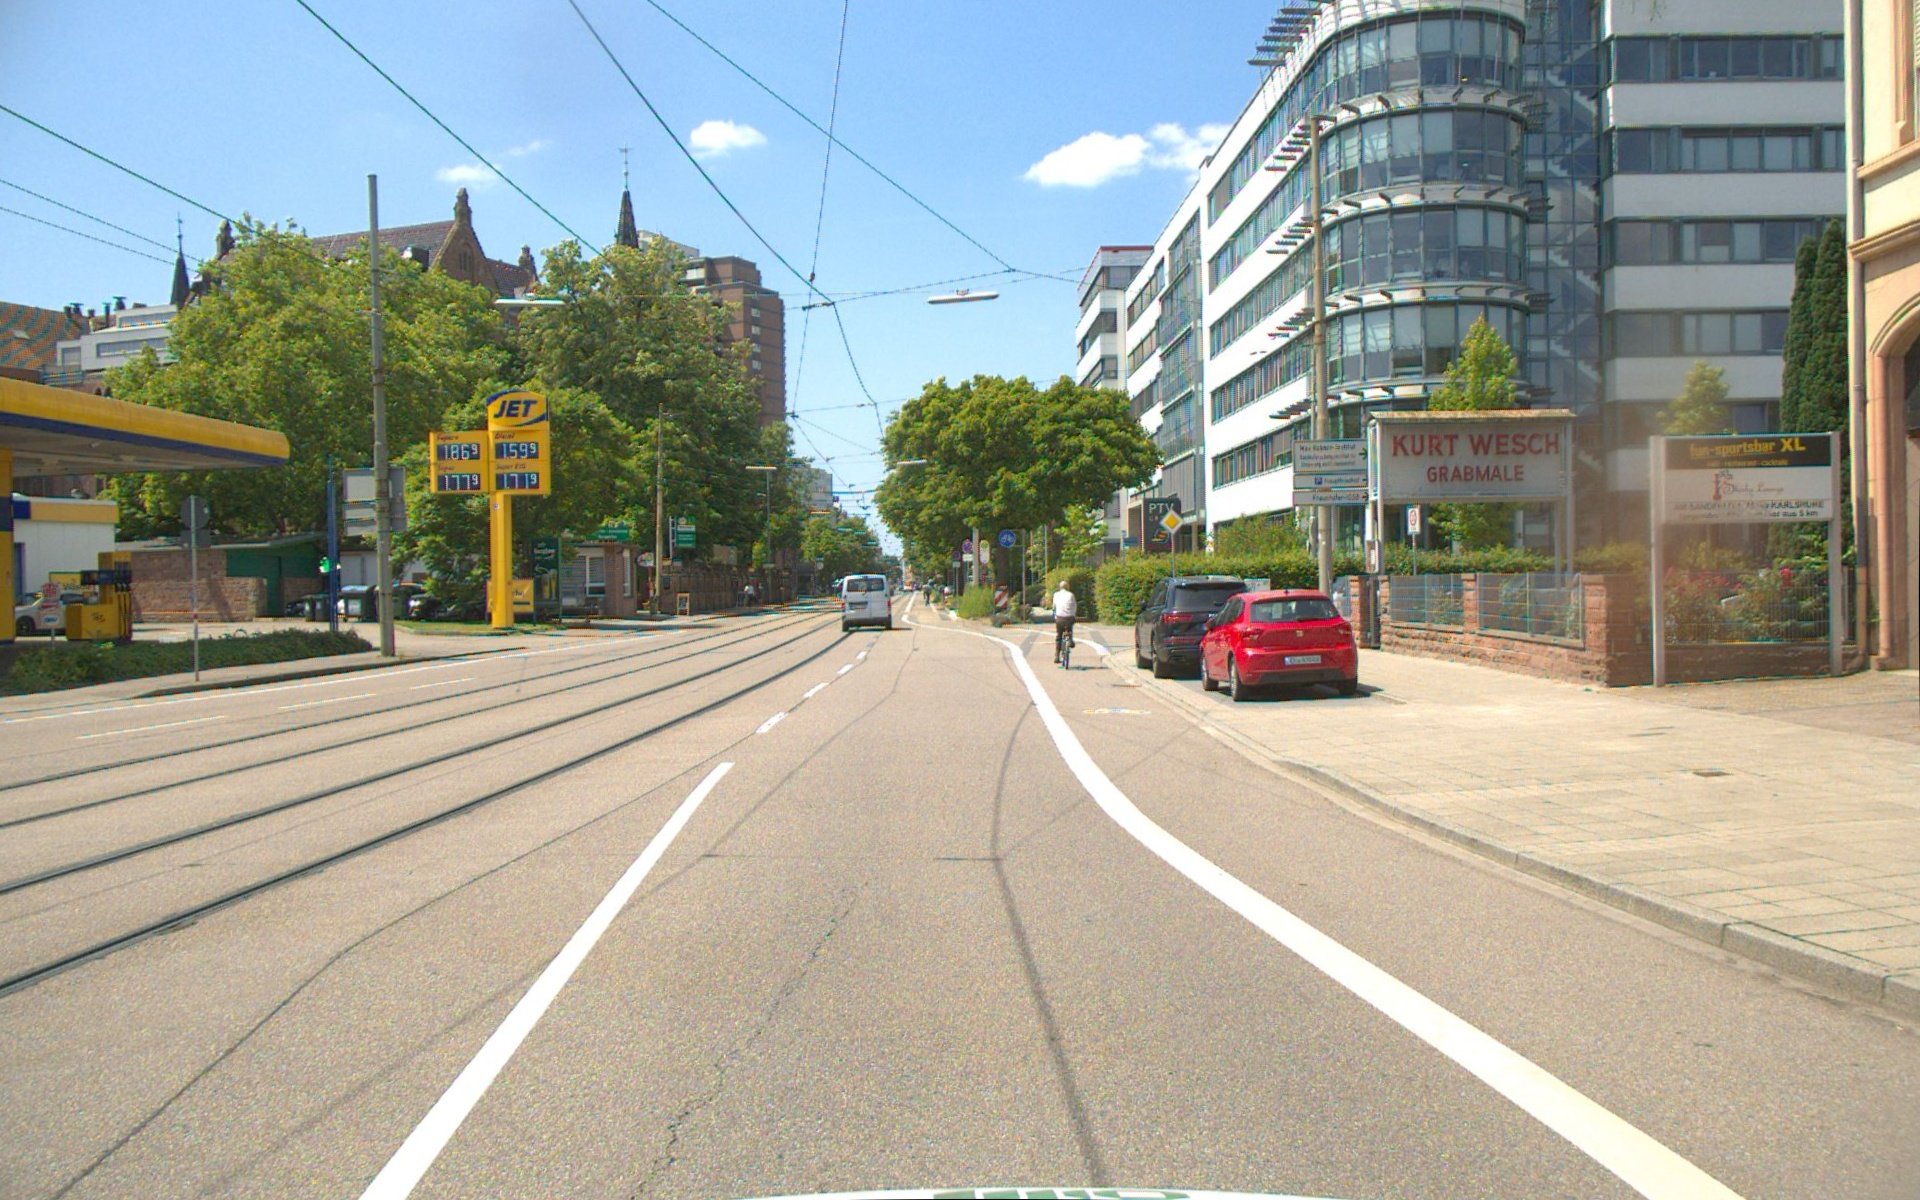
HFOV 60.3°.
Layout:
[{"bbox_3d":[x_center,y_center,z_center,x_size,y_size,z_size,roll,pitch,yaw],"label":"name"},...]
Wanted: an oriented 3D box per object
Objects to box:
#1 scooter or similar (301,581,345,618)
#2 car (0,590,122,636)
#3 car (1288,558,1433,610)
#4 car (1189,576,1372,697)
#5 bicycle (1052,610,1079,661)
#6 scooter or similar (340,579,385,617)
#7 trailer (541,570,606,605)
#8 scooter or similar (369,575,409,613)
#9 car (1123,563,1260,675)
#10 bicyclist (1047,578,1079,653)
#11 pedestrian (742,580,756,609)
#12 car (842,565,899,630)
[{"bbox_3d":[-25.761,-0.031,66.925,1.285,1.492,1.060,-1,1,10],"label":"scooter or similar"},{"bbox_3d":[-30.372,0.401,54.472,1.797,1.389,5.009,-1,1,21],"label":"car"},{"bbox_3d":[11.365,-0.462,47.052,3.722,1.297,1.555,-2,1,-1],"label":"car"},{"bbox_3d":[4.460,0.446,23.584,1.677,1.478,4.072,-3,1,-1],"label":"car"},{"bbox_3d":[2.038,0.670,32.086,0.456,0.903,2.049,-1,1,2],"label":"bicycle"},{"bbox_3d":[-23.858,-0.089,66.048,1.285,1.492,1.060,-1,0,10],"label":"scooter or similar"},{"bbox_3d":[-17.735,-0.569,75.927,2.672,1.553,1.329,0,0,-1],"label":"trailer"},{"bbox_3d":[-22.550,-0.235,65.284,1.148,1.492,1.059,-1,0,4],"label":"scooter or similar"},{"bbox_3d":[4.075,0.262,29.821,1.824,1.716,5.002,-2,2,1],"label":"car"},{"bbox_3d":[2.004,0.297,32.076,0.579,1.421,0.842,-1,1,5],"label":"bicyclist"},{"bbox_3d":[-14.972,-0.379,117.359,0.847,2.049,0.646,-3,0,-4],"label":"pedestrian"},{"bbox_3d":[-3.013,-0.128,56.407,1.717,2.048,3.999,-2,1,-1],"label":"car"}]
